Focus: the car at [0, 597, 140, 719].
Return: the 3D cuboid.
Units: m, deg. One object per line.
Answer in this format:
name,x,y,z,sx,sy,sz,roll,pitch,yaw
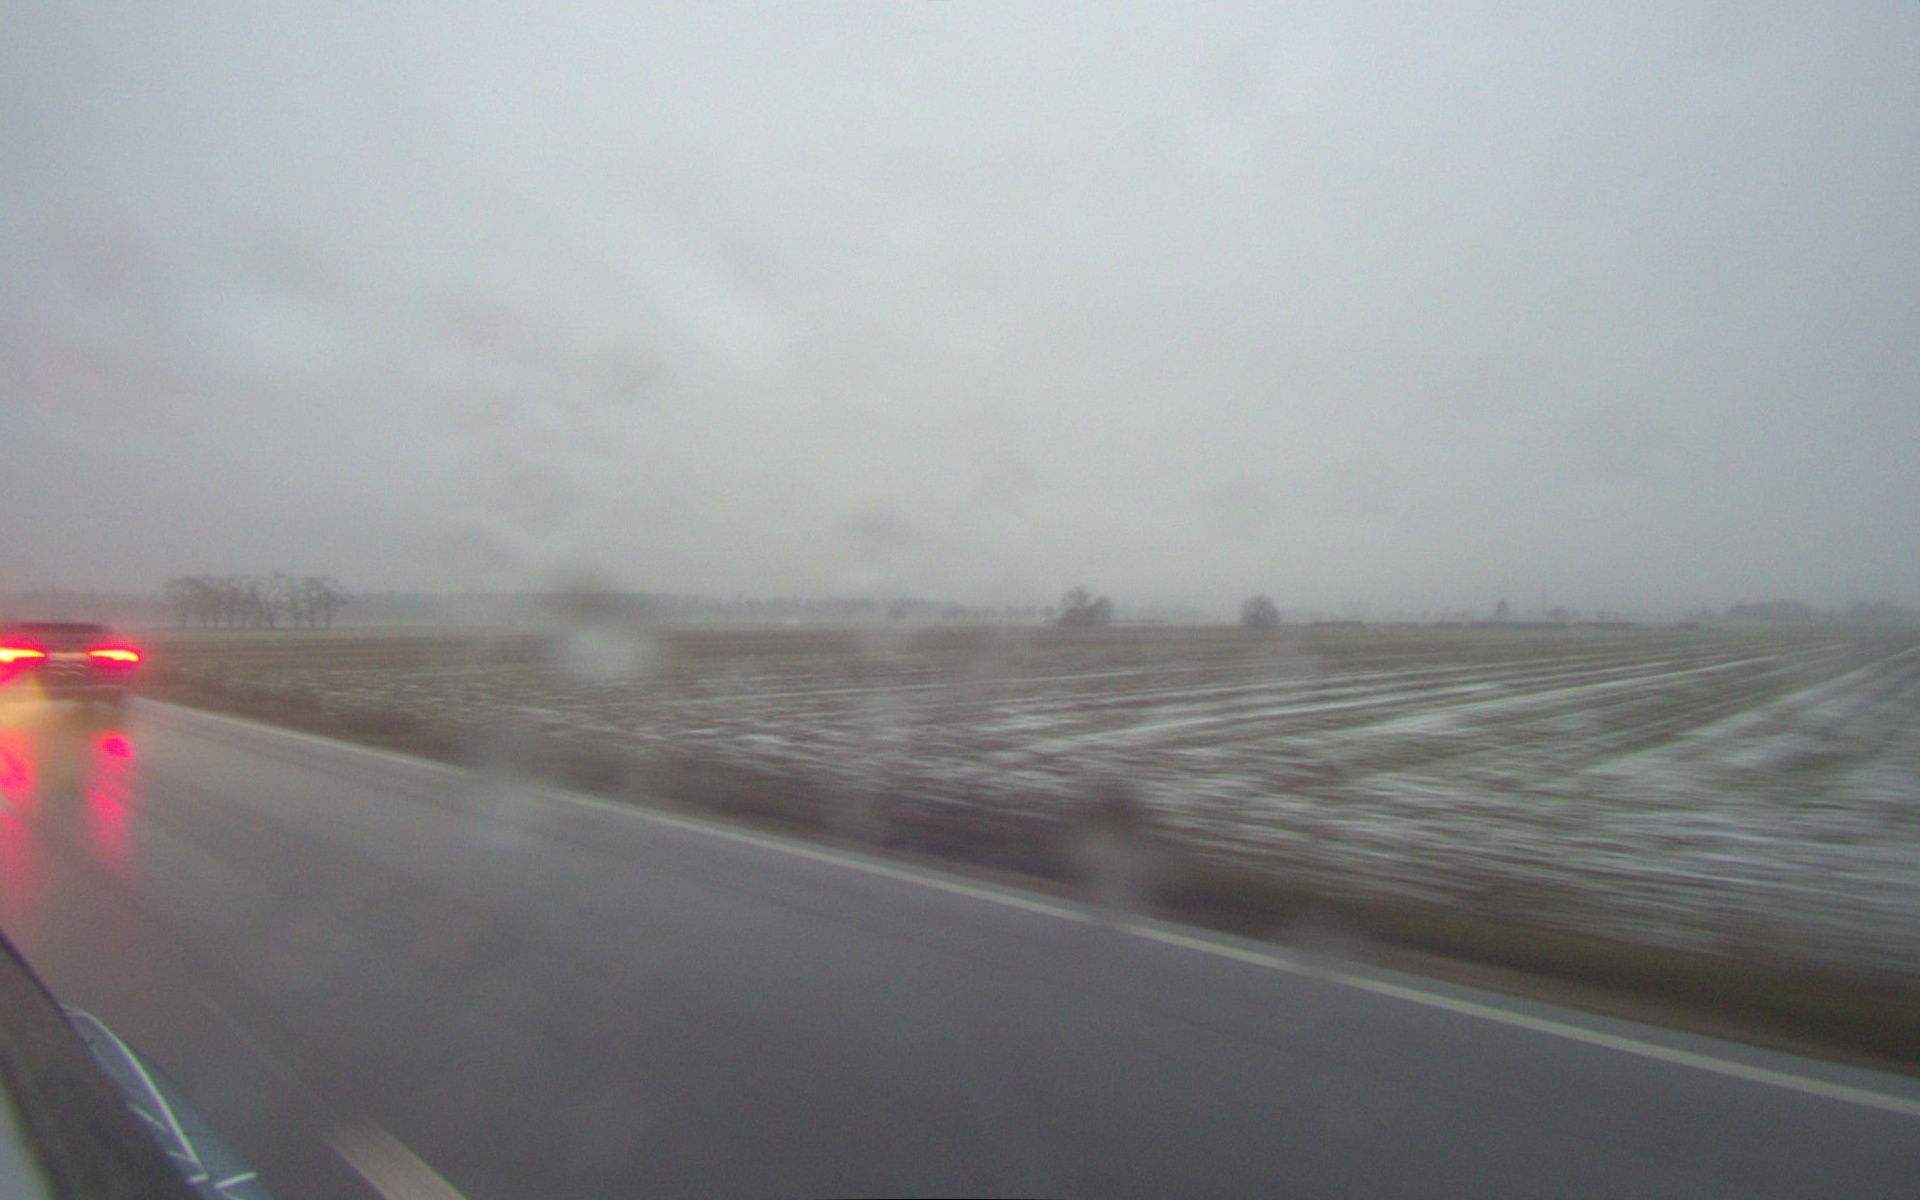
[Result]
car,-15.597,0.937,17.076,3.997,1.837,1.973,-1,-4,40
